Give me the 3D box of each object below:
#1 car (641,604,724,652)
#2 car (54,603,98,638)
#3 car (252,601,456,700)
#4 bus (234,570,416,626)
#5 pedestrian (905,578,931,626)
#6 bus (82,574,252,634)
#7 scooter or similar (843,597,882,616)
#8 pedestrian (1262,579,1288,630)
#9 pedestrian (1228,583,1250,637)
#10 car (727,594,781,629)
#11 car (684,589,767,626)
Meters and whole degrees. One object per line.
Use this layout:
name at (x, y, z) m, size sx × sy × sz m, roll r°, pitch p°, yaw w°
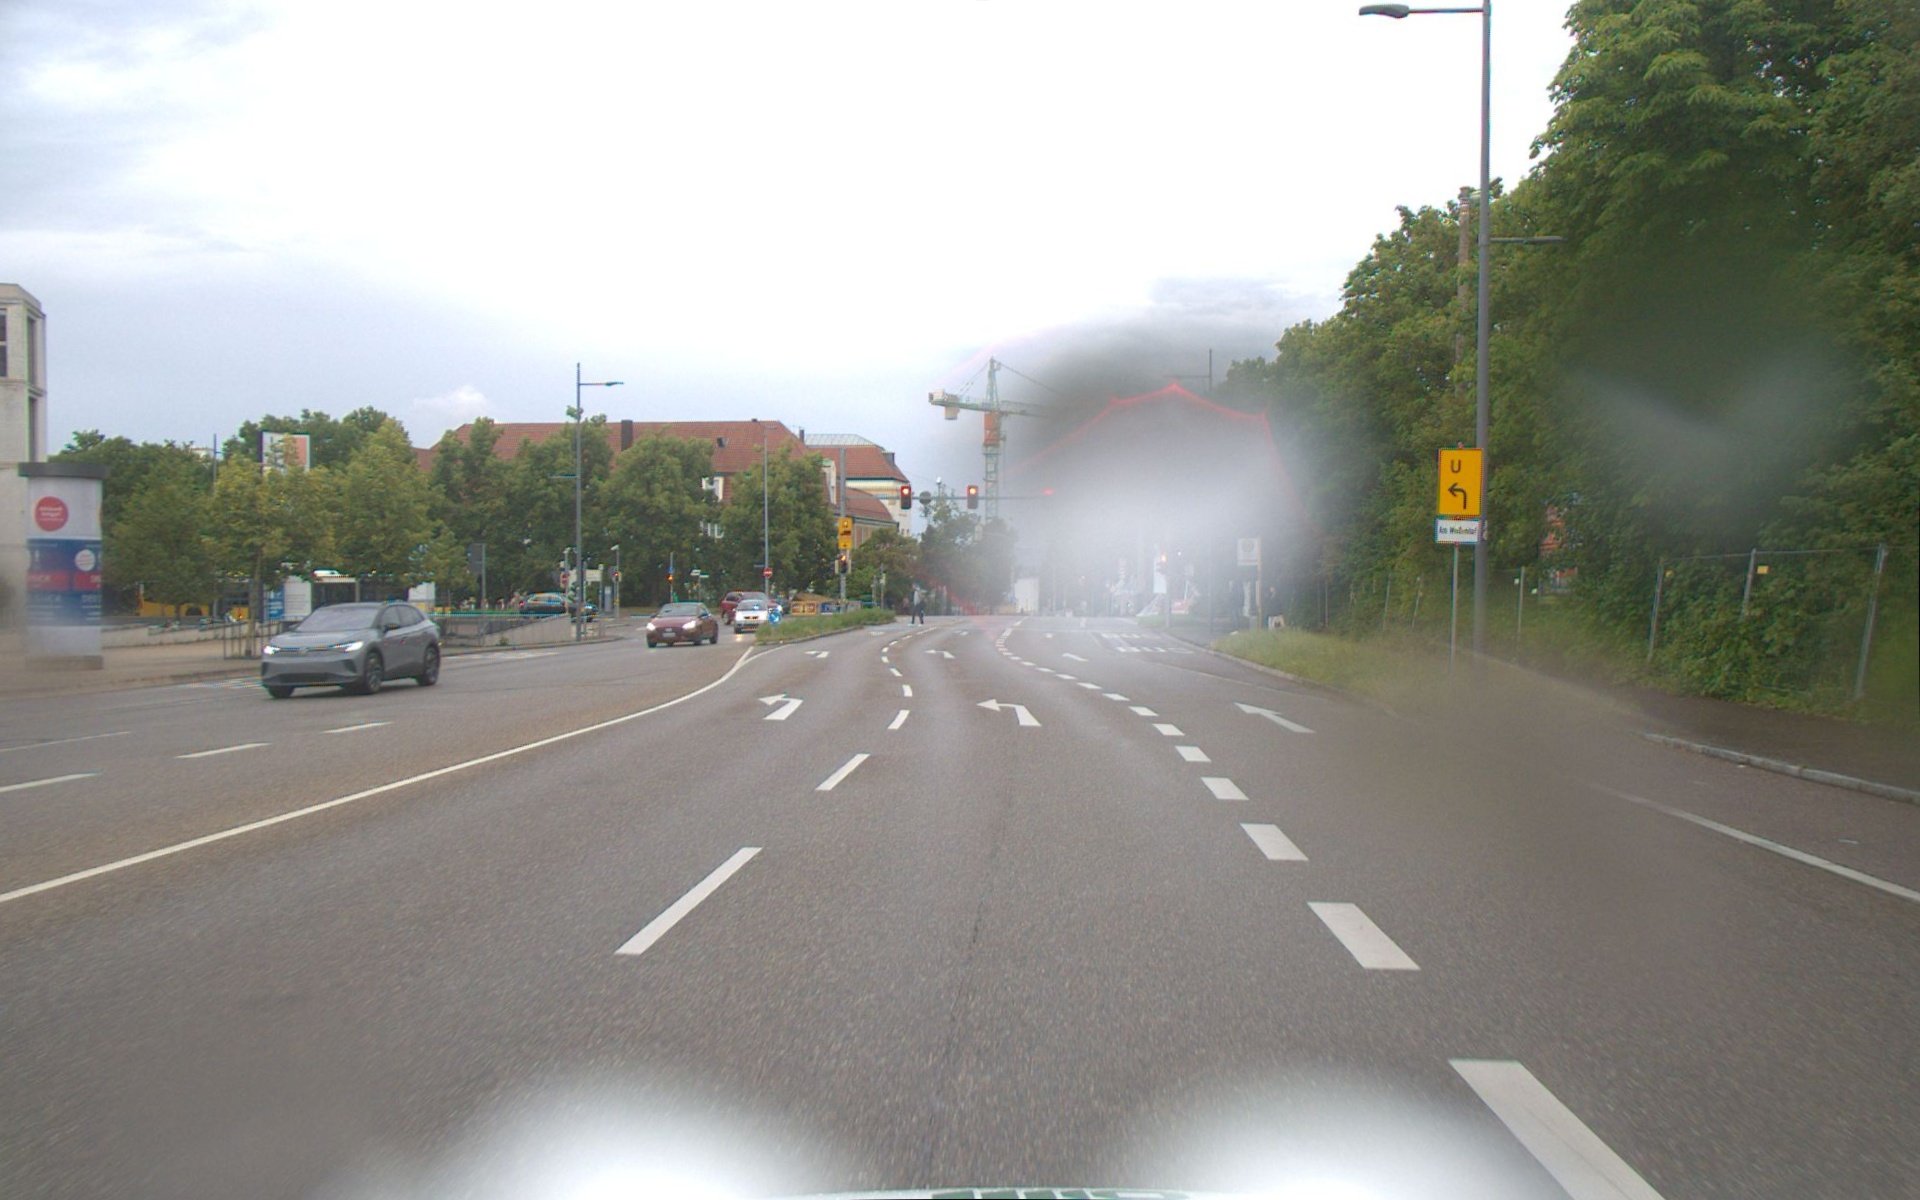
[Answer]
car at (-9.391, 0.916, 56.297) m, size 1.793 × 1.441 × 4.467 m, roll -3°, pitch 0°, yaw 3°
car at (-45.636, 1.037, 85.412) m, size 1.750 × 1.761 × 3.969 m, roll 0°, pitch 0°, yaw -25°
car at (-10.979, 0.876, 30.327) m, size 1.793 × 1.599 × 4.595 m, roll -3°, pitch -1°, yaw 3°
bus at (-36.807, -0.123, 96.022) m, size 9.520 × 3.157 × 2.899 m, roll -1°, pitch 0°, yaw 4°
pedestrian at (-1.845, 0.080, 72.873) m, size 0.920 × 2.048 × 0.848 m, roll -3°, pitch 0°, yaw 8°
bus at (-45.941, 0.206, 95.970) m, size 8.373 × 3.365 × 2.897 m, roll -1°, pitch 0°, yaw 0°
scooter or similar at (-7.844, 0.525, 133.238) m, size 3.024 × 1.465 × 0.949 m, roll -1°, pitch 0°, yaw 1°
pedestrian at (10.514, 0.157, 55.175) m, size 0.662 × 1.687 × 0.792 m, roll -1°, pitch 0°, yaw -2°
pedestrian at (10.057, 0.370, 59.700) m, size 0.627 × 1.934 × 0.718 m, roll -1°, pitch 0°, yaw -2°
car at (-9.270, 0.507, 74.754) m, size 1.725 × 1.441 × 3.880 m, roll -3°, pitch 0°, yaw 3°
car at (-12.429, 0.398, 87.607) m, size 3.908 × 1.950 × 1.998 m, roll 0°, pitch -1°, yaw 26°
